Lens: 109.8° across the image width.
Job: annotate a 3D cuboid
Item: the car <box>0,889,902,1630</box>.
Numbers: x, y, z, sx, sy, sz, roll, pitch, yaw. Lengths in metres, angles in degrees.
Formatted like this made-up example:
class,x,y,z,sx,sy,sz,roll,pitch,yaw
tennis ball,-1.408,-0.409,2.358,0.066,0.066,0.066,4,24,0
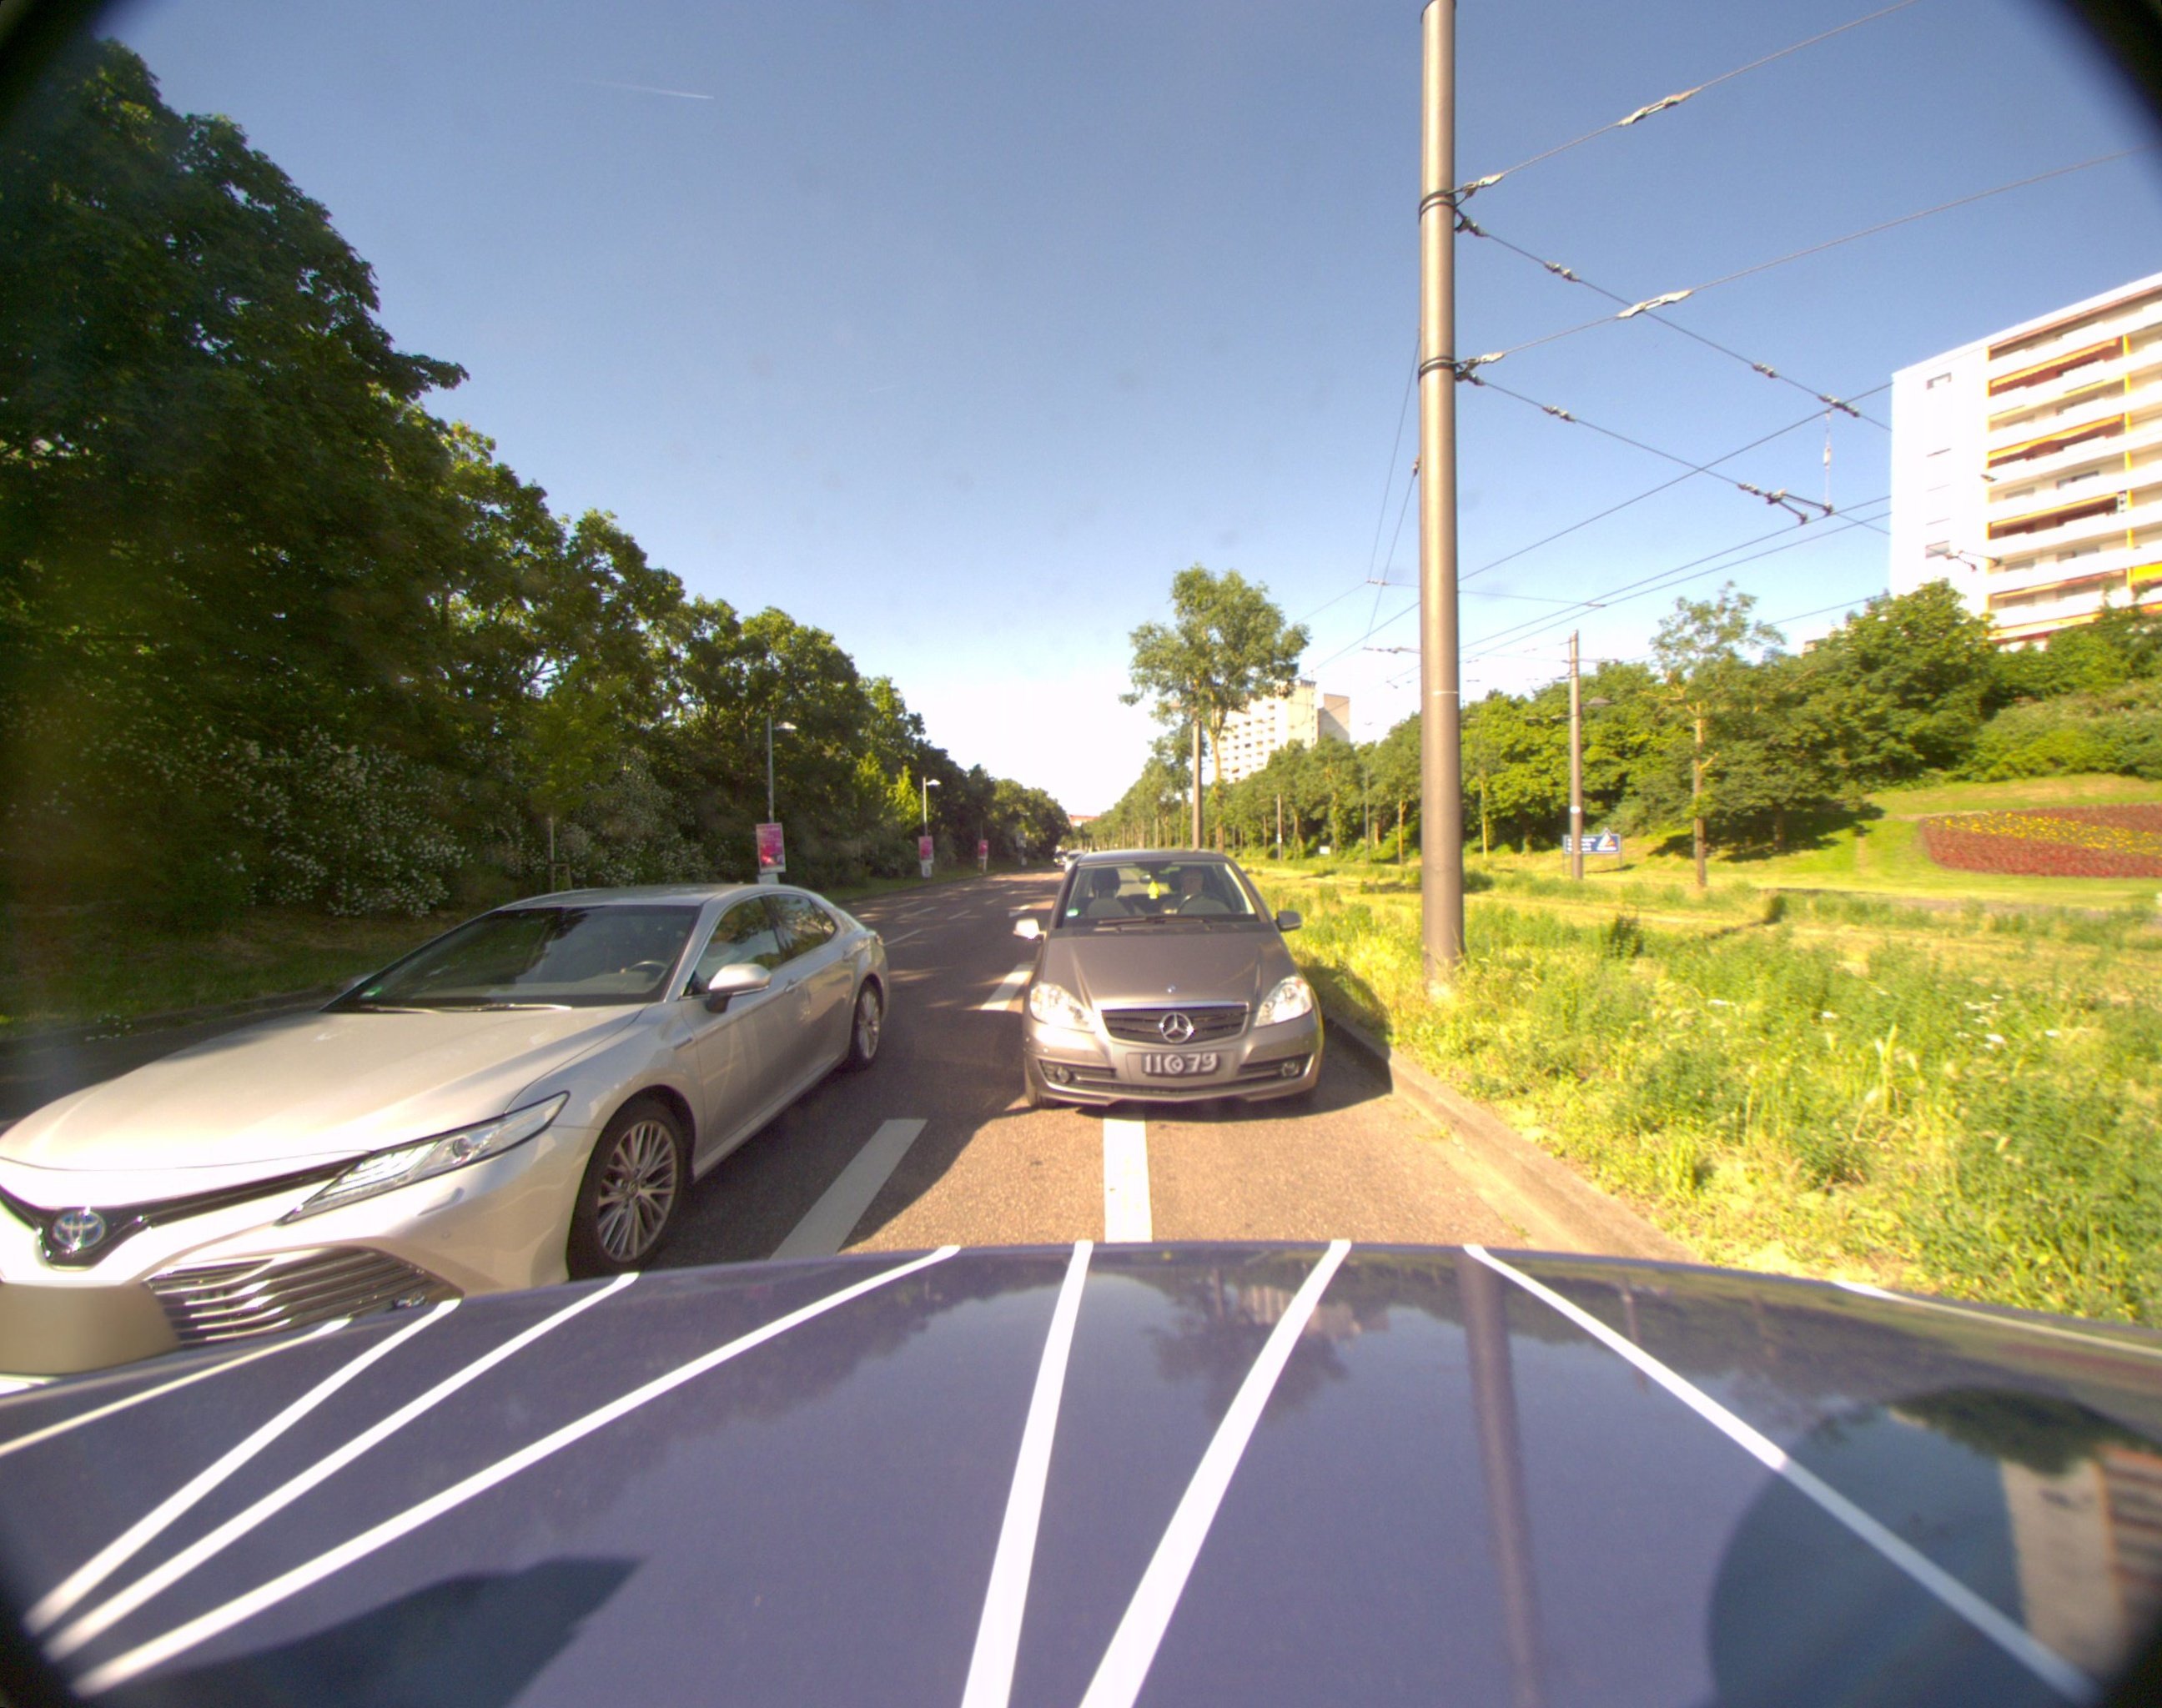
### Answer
class,x,y,z,sx,sy,sz,roll,pitch,yaw
car,-2.643,1.047,4.122,2.069,1.451,4.749,-1,0,2

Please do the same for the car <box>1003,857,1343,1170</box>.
class,x,y,z,sx,sy,sz,roll,pitch,yaw
car,0.517,0.854,6.206,1.777,1.597,4.384,-1,0,1

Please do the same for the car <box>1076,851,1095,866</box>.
class,x,y,z,sx,sy,sz,roll,pitch,yaw
car,0.462,0.415,75.932,1.776,1.395,4.067,-1,0,2

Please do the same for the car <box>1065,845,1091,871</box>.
class,x,y,z,sx,sy,sz,roll,pitch,yaw
car,-0.211,0.285,59.232,1.822,1.893,4.622,-1,0,2

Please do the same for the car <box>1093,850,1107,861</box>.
class,x,y,z,sx,sy,sz,roll,pitch,yaw
car,2.561,0.212,100.852,1.776,1.395,4.067,-1,0,2

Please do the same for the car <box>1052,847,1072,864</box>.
class,x,y,z,sx,sy,sz,roll,pitch,yaw
car,-2.132,0.179,88.166,1.998,1.882,5.148,-1,0,1
